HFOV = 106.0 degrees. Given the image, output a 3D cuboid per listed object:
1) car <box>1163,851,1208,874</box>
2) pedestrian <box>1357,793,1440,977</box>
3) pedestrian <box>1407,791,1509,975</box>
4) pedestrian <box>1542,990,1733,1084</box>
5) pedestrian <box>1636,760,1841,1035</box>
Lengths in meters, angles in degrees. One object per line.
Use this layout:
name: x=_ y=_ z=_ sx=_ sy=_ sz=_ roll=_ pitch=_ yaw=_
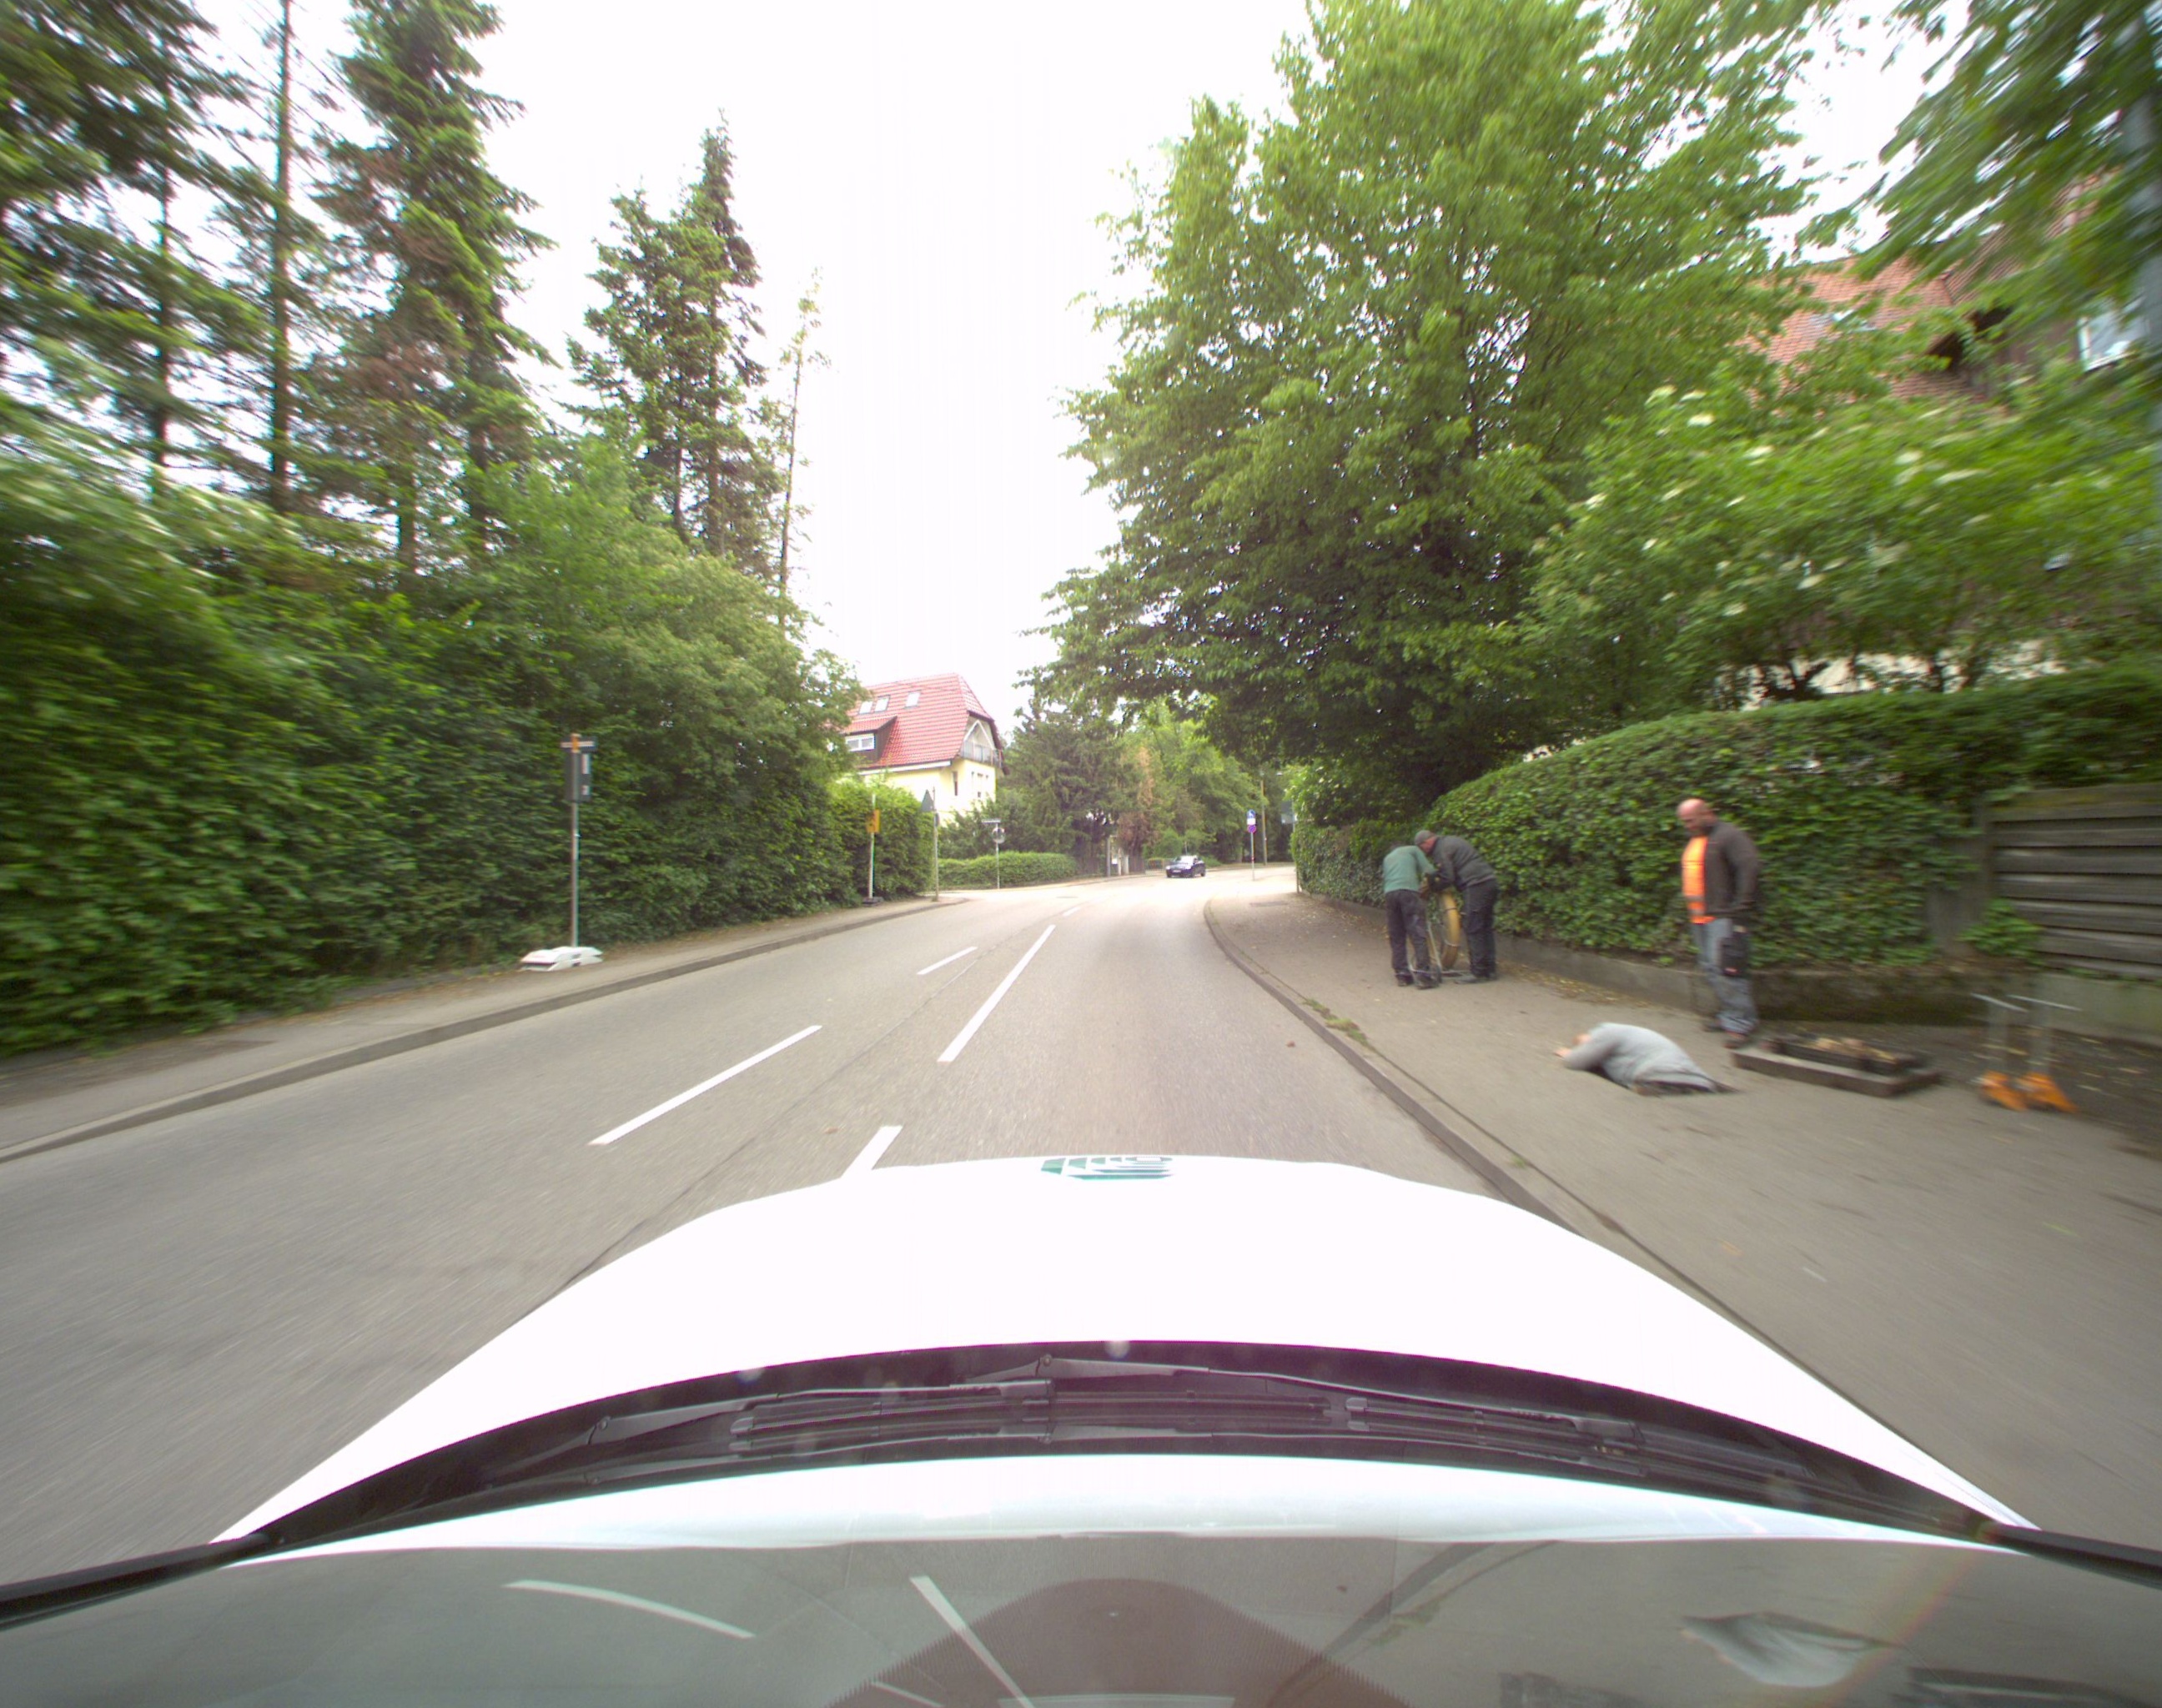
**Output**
car: x=6.731 y=0.526 z=52.253 sx=1.741 sy=1.439 sz=4.116 roll=-1 pitch=0 yaw=24
pedestrian: x=3.283 y=0.308 z=8.420 sx=0.594 sy=1.807 sz=0.522 roll=-3 pitch=-1 yaw=42
pedestrian: x=3.918 y=0.283 z=8.478 sx=0.694 sy=1.807 sz=0.665 roll=-2 pitch=-1 yaw=-39
pedestrian: x=3.375 y=1.106 z=5.007 sx=0.670 sy=0.393 sz=0.741 roll=-2 pitch=0 yaw=1
pedestrian: x=4.649 y=0.292 z=5.819 sx=0.804 sy=1.807 sz=0.741 roll=-2 pitch=-1 yaw=1
